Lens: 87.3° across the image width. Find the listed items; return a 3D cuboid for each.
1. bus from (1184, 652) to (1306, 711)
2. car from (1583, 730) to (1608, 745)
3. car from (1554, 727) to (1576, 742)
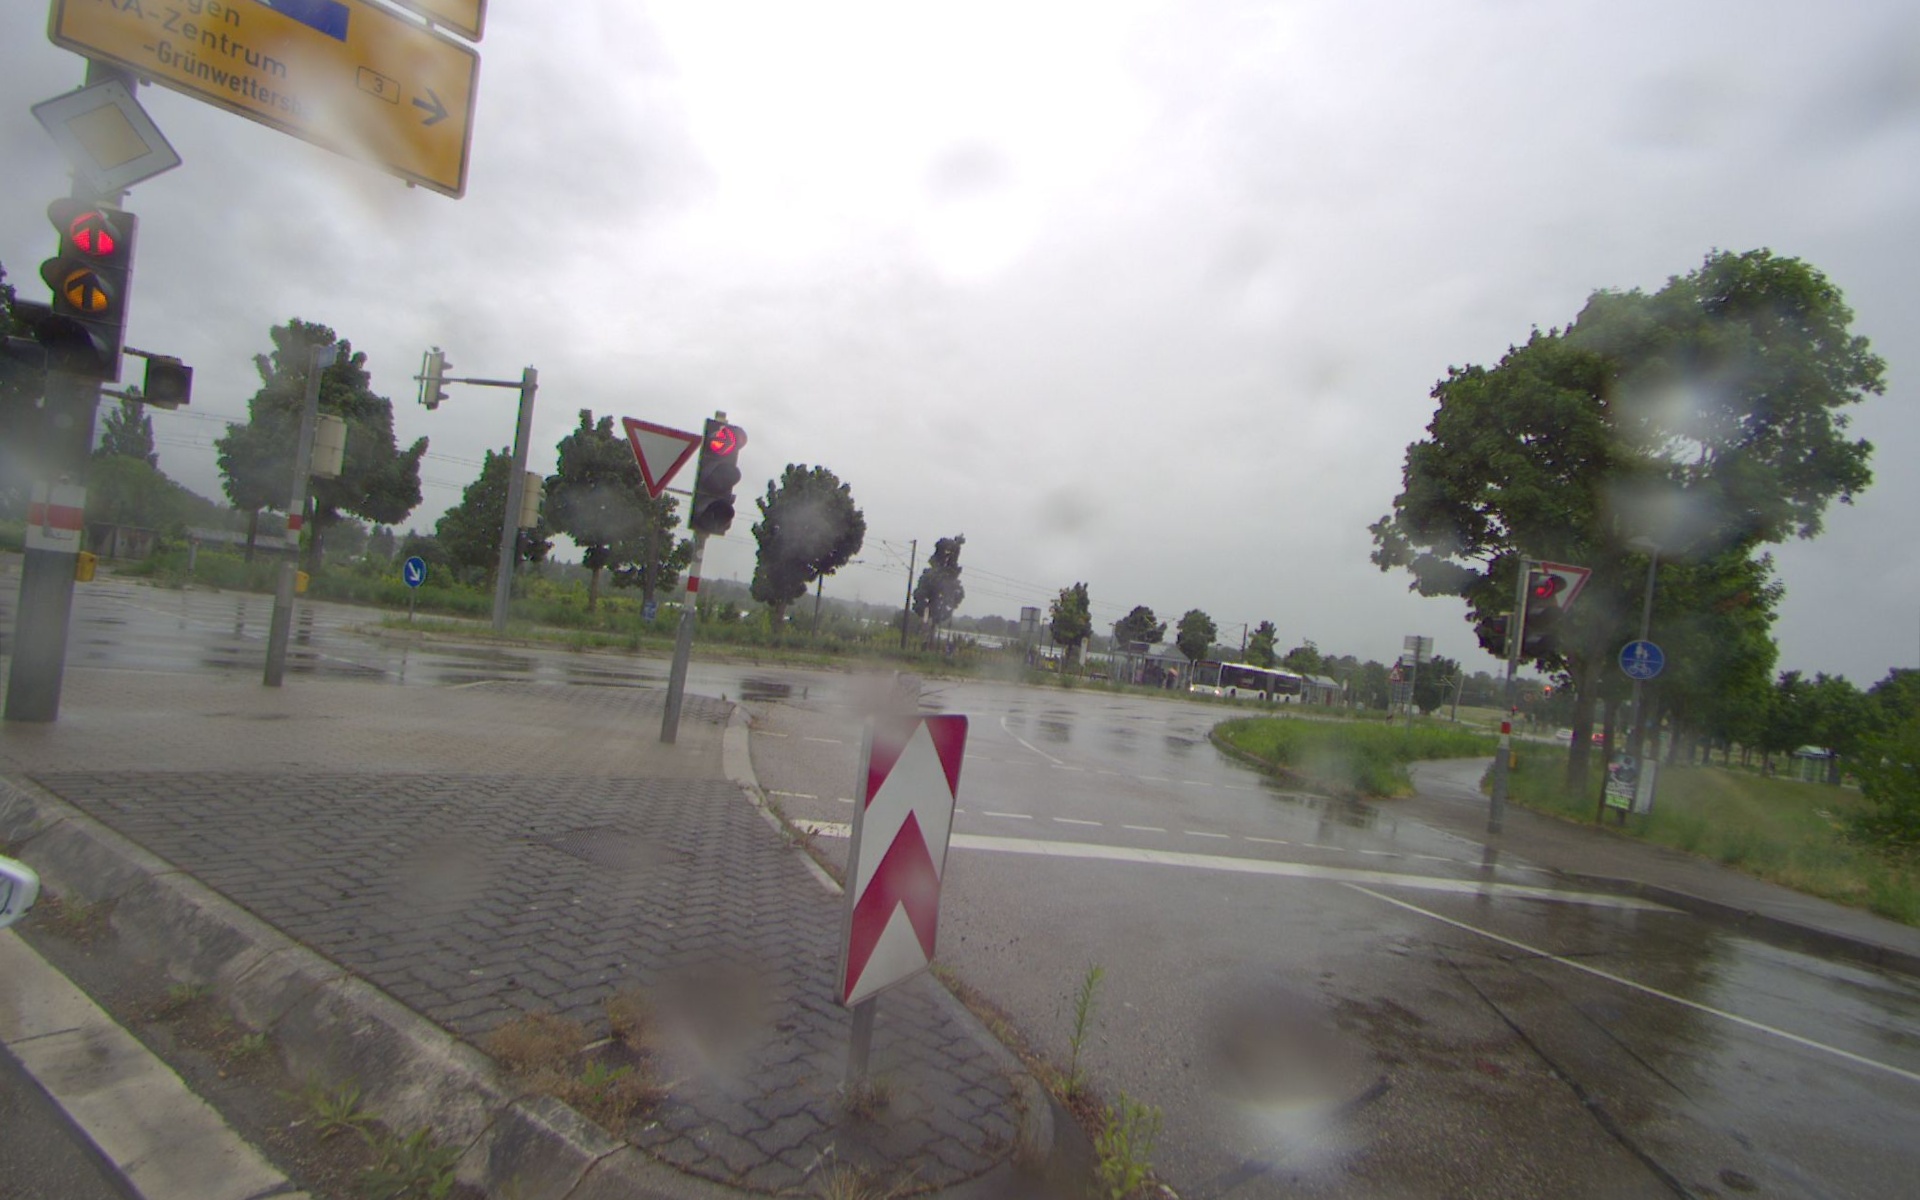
[{"bbox_3d":[24.274,7.023,84.275,2.715,3.828,18.378,7,-2,38],"label":"bus"},{"bbox_3d":[71.957,15.553,113.904,1.853,1.370,4.036,6,-2,40],"label":"car"},{"bbox_3d":[71.274,15.820,118.495,1.850,1.370,4.042,7,-1,34],"label":"car"}]
